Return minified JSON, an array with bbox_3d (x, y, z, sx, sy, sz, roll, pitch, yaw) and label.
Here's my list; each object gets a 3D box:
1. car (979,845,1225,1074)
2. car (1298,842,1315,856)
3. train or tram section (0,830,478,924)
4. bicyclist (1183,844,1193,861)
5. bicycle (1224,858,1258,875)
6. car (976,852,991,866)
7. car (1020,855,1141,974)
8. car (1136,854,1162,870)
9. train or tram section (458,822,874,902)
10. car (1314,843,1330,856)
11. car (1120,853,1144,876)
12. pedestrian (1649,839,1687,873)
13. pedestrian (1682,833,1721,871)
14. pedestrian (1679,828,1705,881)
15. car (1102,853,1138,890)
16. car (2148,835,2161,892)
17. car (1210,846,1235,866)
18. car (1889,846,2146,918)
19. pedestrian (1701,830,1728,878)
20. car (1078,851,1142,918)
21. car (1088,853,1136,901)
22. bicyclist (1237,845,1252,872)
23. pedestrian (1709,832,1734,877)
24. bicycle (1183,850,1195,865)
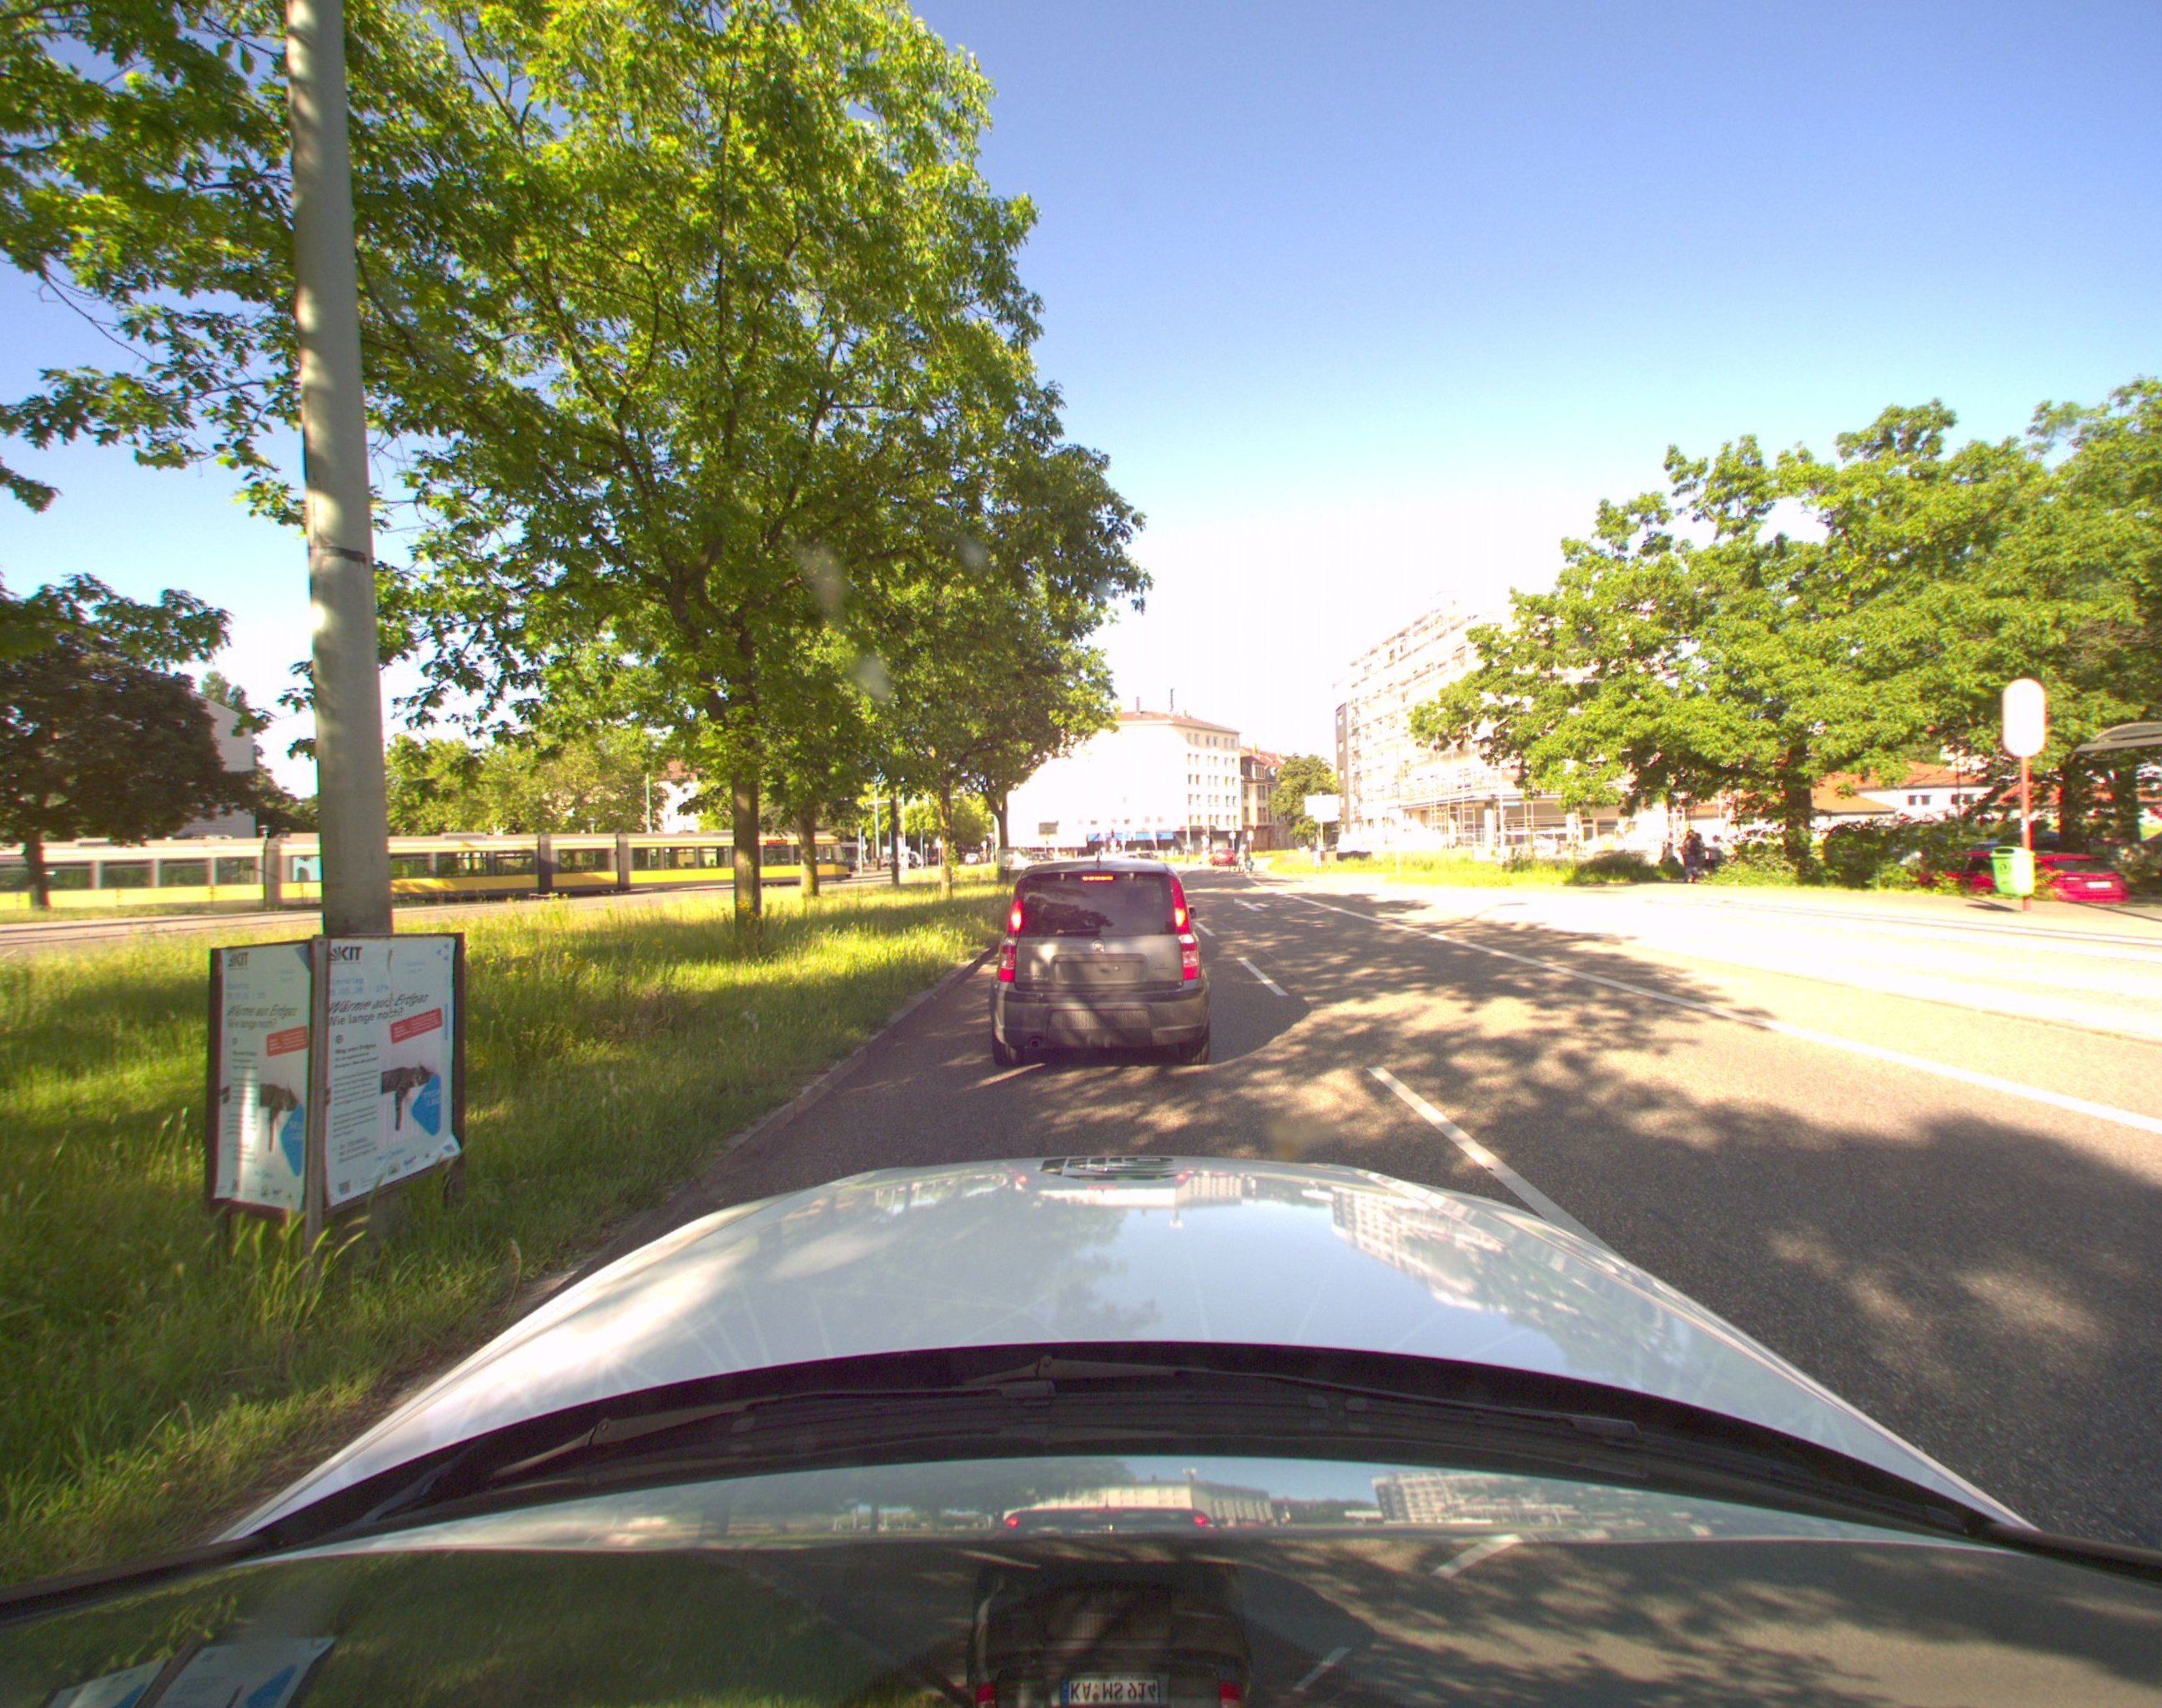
[{"bbox_3d":[0.206,0.704,7.539,1.622,1.508,4.002,-2,0,2],"label":"car"},{"bbox_3d":[24.914,-0.535,90.001,1.669,1.449,3.588,-2,0,18],"label":"car"},{"bbox_3d":[-39.513,0.929,36.759,19.407,3.513,3.280,-2,0,-24],"label":"train or tram section"},{"bbox_3d":[9.115,-0.124,69.259,0.739,1.438,0.845,0,-1,1],"label":"bicyclist"},{"bbox_3d":[8.911,0.701,45.455,1.772,0.945,0.563,-1,0,40],"label":"bicycle"},{"bbox_3d":[-14.842,0.739,124.163,1.988,2.013,3.997,-2,0,-2],"label":"car"},{"bbox_3d":[0.050,0.749,11.766,1.458,1.401,3.395,-2,0,2],"label":"car"},{"bbox_3d":[4.865,0.578,57.720,1.133,1.064,2.735,-2,0,19],"label":"car"},{"bbox_3d":[-22.545,0.175,46.812,20.901,3.770,3.270,-2,0,-36],"label":"train or tram section"},{"bbox_3d":[27.740,-0.532,93.563,1.514,1.314,3.304,-2,0,20],"label":"car"},{"bbox_3d":[3.095,0.604,49.687,1.351,1.281,2.877,-2,0,2],"label":"car"},{"bbox_3d":[25.827,0.076,35.835,0.893,1.447,0.962,-2,0,-13],"label":"pedestrian"},{"bbox_3d":[27.295,-0.089,35.837,0.889,1.653,0.983,-2,0,-14],"label":"pedestrian"},{"bbox_3d":[18.574,0.013,24.755,0.516,1.612,0.595,-2,0,28],"label":"pedestrian"},{"bbox_3d":[1.602,0.694,33.971,1.351,1.449,3.267,-2,0,2],"label":"car"},{"bbox_3d":[29.862,0.218,20.182,1.911,1.486,3.725,-2,0,-17],"label":"car"},{"bbox_3d":[11.382,0.135,65.320,1.875,1.428,4.400,-2,0,11],"label":"car"},{"bbox_3d":[21.987,0.598,19.379,1.747,1.486,3.743,-2,0,-2],"label":"car"},{"bbox_3d":[19.267,0.005,24.768,0.516,1.447,0.595,-2,0,28],"label":"pedestrian"},{"bbox_3d":[0.726,0.699,20.798,1.458,1.508,3.506,-2,0,2],"label":"car"},{"bbox_3d":[1.030,0.729,27.401,1.458,1.424,3.383,-2,0,2],"label":"car"},{"bbox_3d":[9.095,0.246,45.280,0.578,1.493,0.554,-2,0,41],"label":"bicyclist"},{"bbox_3d":[20.856,0.016,26.524,0.516,1.447,0.595,-2,0,28],"label":"pedestrian"},{"bbox_3d":[9.148,0.299,69.275,0.706,1.198,2.520,0,-1,1],"label":"bicycle"}]
